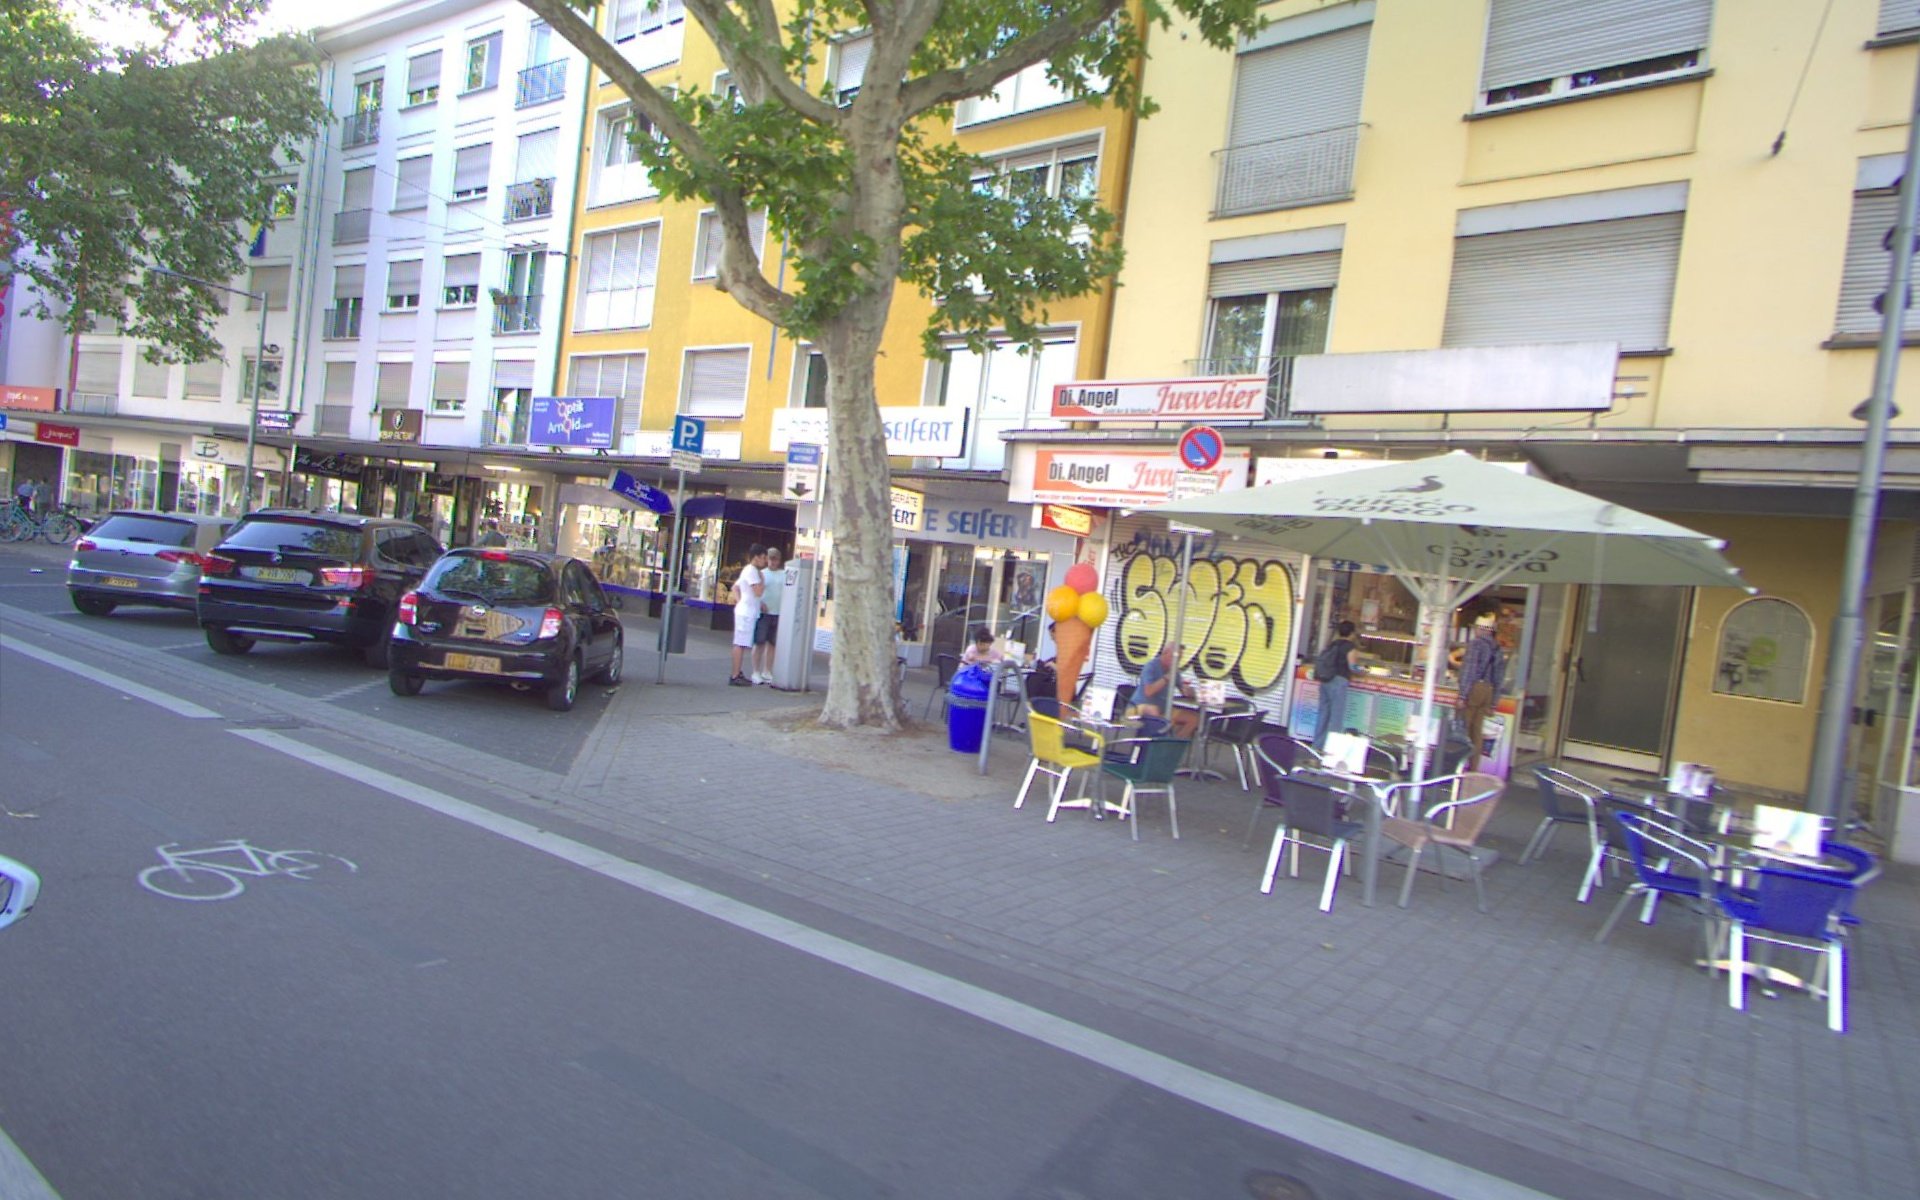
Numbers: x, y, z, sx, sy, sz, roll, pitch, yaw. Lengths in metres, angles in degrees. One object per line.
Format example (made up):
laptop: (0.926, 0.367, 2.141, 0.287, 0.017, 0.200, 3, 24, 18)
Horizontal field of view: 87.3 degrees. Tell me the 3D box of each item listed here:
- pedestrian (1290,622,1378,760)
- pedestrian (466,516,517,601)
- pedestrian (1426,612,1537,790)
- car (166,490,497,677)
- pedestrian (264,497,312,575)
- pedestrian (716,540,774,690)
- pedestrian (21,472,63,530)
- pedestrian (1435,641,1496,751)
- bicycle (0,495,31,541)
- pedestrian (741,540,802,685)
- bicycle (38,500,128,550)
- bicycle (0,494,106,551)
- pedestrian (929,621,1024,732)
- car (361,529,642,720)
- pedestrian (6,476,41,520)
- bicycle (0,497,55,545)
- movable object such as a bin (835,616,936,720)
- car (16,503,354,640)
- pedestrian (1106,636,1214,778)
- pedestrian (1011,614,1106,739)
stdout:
pedestrian: (4.513, 1.084, 12.157, 0.618, 1.568, 0.633, 2, 3, -27)
pedestrian: (-10.487, -0.920, 22.513, 0.776, 1.816, 0.705, 8, 5, 38)
pedestrian: (5.676, 1.091, 10.973, 0.628, 1.827, 0.623, 6, 2, -22)
car: (-7.334, -0.191, 12.307, 1.778, 1.702, 4.144, 6, 0, -8)
pedestrian: (-17.234, -1.637, 25.796, 0.812, 1.900, 0.642, 7, 2, 37)
pedestrian: (-2.770, 0.191, 13.006, 0.466, 1.856, 0.517, 6, 1, -1)
pedestrian: (-30.895, -3.331, 33.859, 0.751, 1.817, 0.781, 7, 2, 32)
pedestrian: (6.446, 1.211, 12.821, 0.500, 1.313, 0.425, 7, 2, 36)
bicycle: (-26.787, -2.296, 27.570, 0.701, 1.205, 1.871, 8, 4, 40)
pedestrian: (-2.508, 0.173, 13.440, 0.466, 1.856, 0.517, 7, 1, 10)
bicycle: (-24.224, -2.071, 27.819, 0.668, 1.169, 1.760, 8, 3, 40)
bicycle: (-24.333, -2.064, 26.910, 0.818, 1.249, 2.079, 7, 2, 37)
pedestrian: (0.188, 0.857, 11.327, 0.738, 1.128, 0.584, 7, 0, 33)
car: (-4.739, 0.204, 10.983, 1.712, 1.560, 3.602, 6, 0, -8)
pedestrian: (-40.127, -4.385, 43.100, 0.820, 1.701, 0.749, 9, 2, 26)
bicycle: (-25.812, -2.168, 27.272, 0.660, 1.205, 1.787, 6, 3, 24)
movable object such as a bin: (-0.836, 0.764, 11.510, 0.824, 1.035, 0.930, 7, -1, 11)
car: (-10.719, -0.371, 14.390, 1.777, 1.469, 4.172, 6, 0, -6)
pedestrian: (1.952, 1.018, 9.795, 0.733, 1.240, 0.606, 7, 1, 32)
pedestrian: (1.123, 0.863, 11.441, 0.746, 1.290, 0.584, 7, 0, 33)
